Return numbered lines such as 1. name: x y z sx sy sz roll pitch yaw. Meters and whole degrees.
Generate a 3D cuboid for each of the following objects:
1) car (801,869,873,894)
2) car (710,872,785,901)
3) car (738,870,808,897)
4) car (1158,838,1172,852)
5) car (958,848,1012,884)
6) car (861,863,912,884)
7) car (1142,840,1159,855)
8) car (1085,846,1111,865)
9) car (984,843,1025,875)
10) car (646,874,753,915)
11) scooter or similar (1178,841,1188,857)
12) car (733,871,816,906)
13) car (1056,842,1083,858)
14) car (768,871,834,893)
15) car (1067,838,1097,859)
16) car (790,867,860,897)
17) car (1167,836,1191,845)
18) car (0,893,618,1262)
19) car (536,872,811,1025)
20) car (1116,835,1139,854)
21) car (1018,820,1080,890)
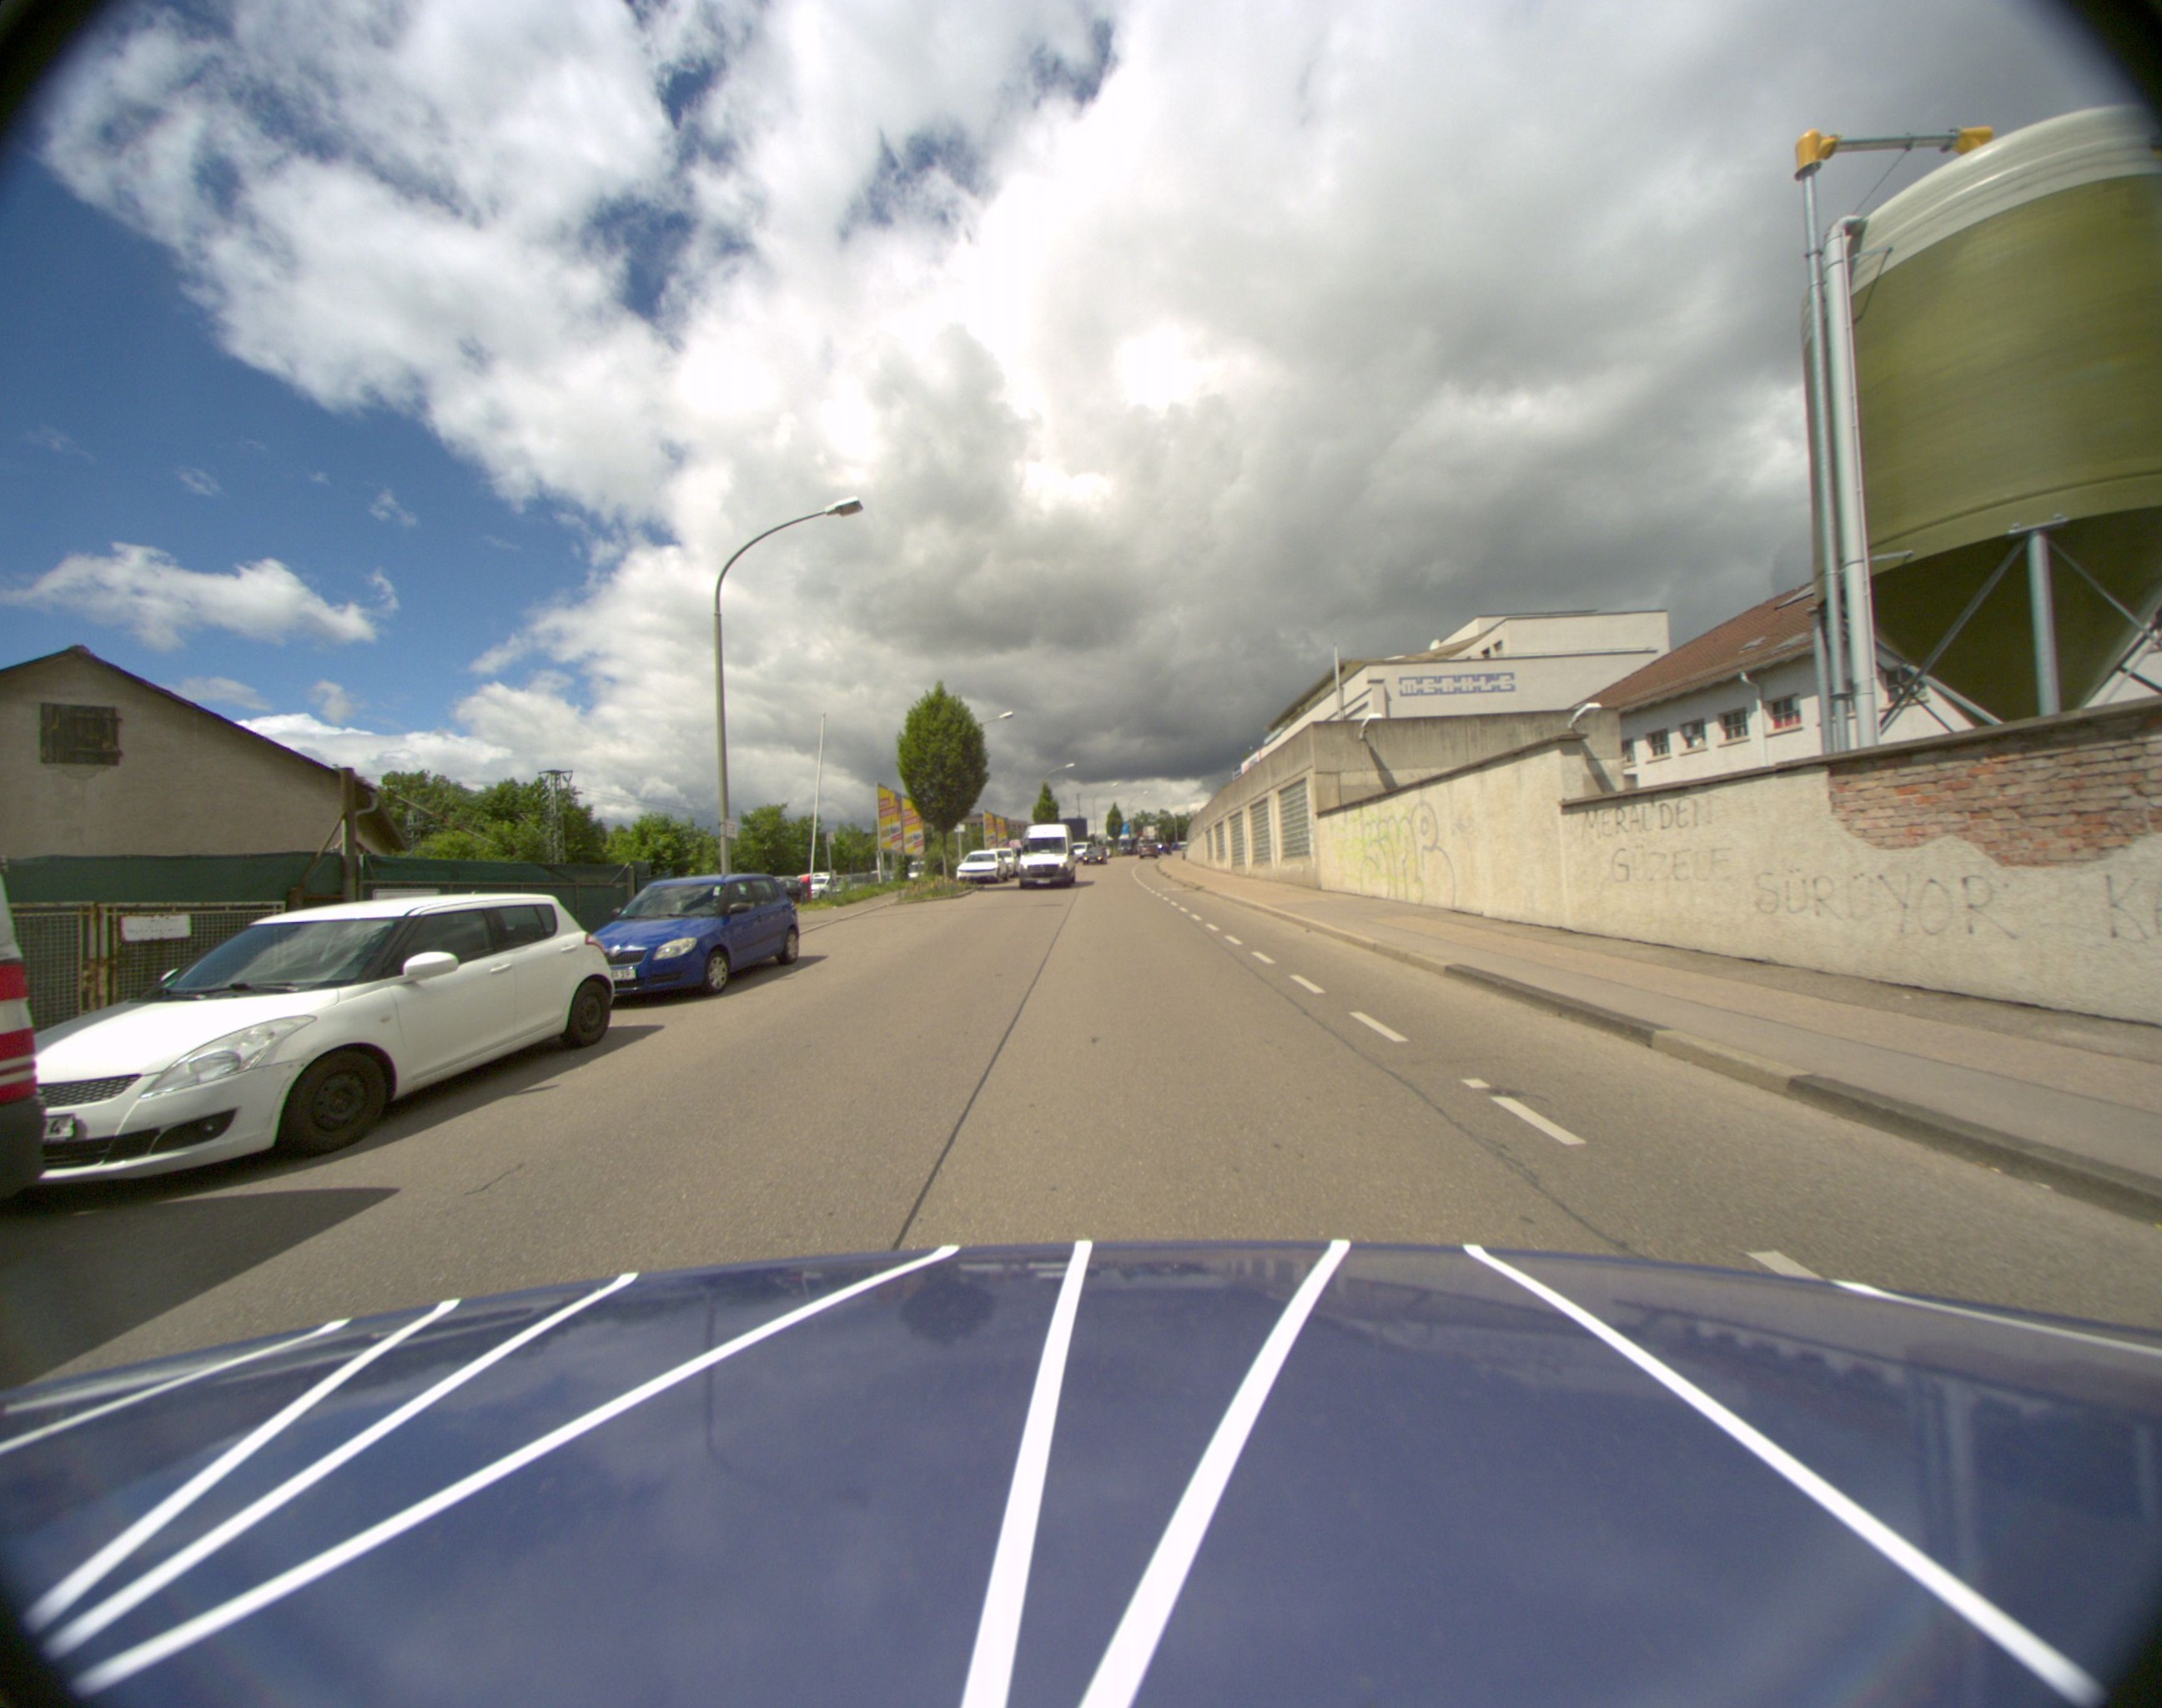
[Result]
1. car: -17.180 1.922 53.487 4.451 1.546 2.002 -2 1 19
2. car: -20.339 1.955 46.354 3.991 1.603 1.799 -2 1 22
3. car: -19.891 1.910 49.054 3.991 1.550 1.825 -2 1 22
4. car: 11.045 -1.202 100.363 1.630 1.807 3.780 -1 1 4
5. car: -4.579 0.531 36.973 1.846 1.556 4.465 -1 1 3
6. car: -15.477 1.573 60.403 3.989 1.531 1.791 -1 2 37
7. car: 7.668 -0.731 83.971 1.803 1.613 4.093 -1 1 4
8. car: 1.506 0.101 65.475 1.583 1.498 3.959 -2 1 10
9. car: -4.263 0.245 42.945 1.689 1.650 4.479 -2 1 1
10. car: -18.267 1.896 36.672 1.751 1.675 4.685 0 1 20
11. scooter or similar: 8.665 -0.414 64.559 0.520 1.268 1.383 -5 1 -1
12. car: -16.766 1.866 41.823 1.814 1.612 4.468 0 1 17
13. car: -1.043 -0.420 72.314 1.640 1.379 4.207 -2 1 11
14. car: -18.930 1.892 51.329 3.991 1.323 1.758 -2 1 22
15. car: 0.141 -0.610 79.997 1.978 1.992 5.551 -2 1 12
16. car: -15.543 1.671 46.373 1.754 1.509 4.586 0 1 15
17. car: 23.089 -3.129 179.086 5.134 1.958 1.959 -3 1 -17
18. car: -5.371 1.201 5.563 1.597 1.501 3.789 -3 1 -1
19. car: -5.339 1.121 10.665 1.571 1.501 4.093 -3 1 0
20. car: 6.738 -1.443 108.776 2.057 2.579 5.740 -2 1 15
21. car: -1.218 -0.019 32.119 2.082 2.576 6.062 -2 1 2
